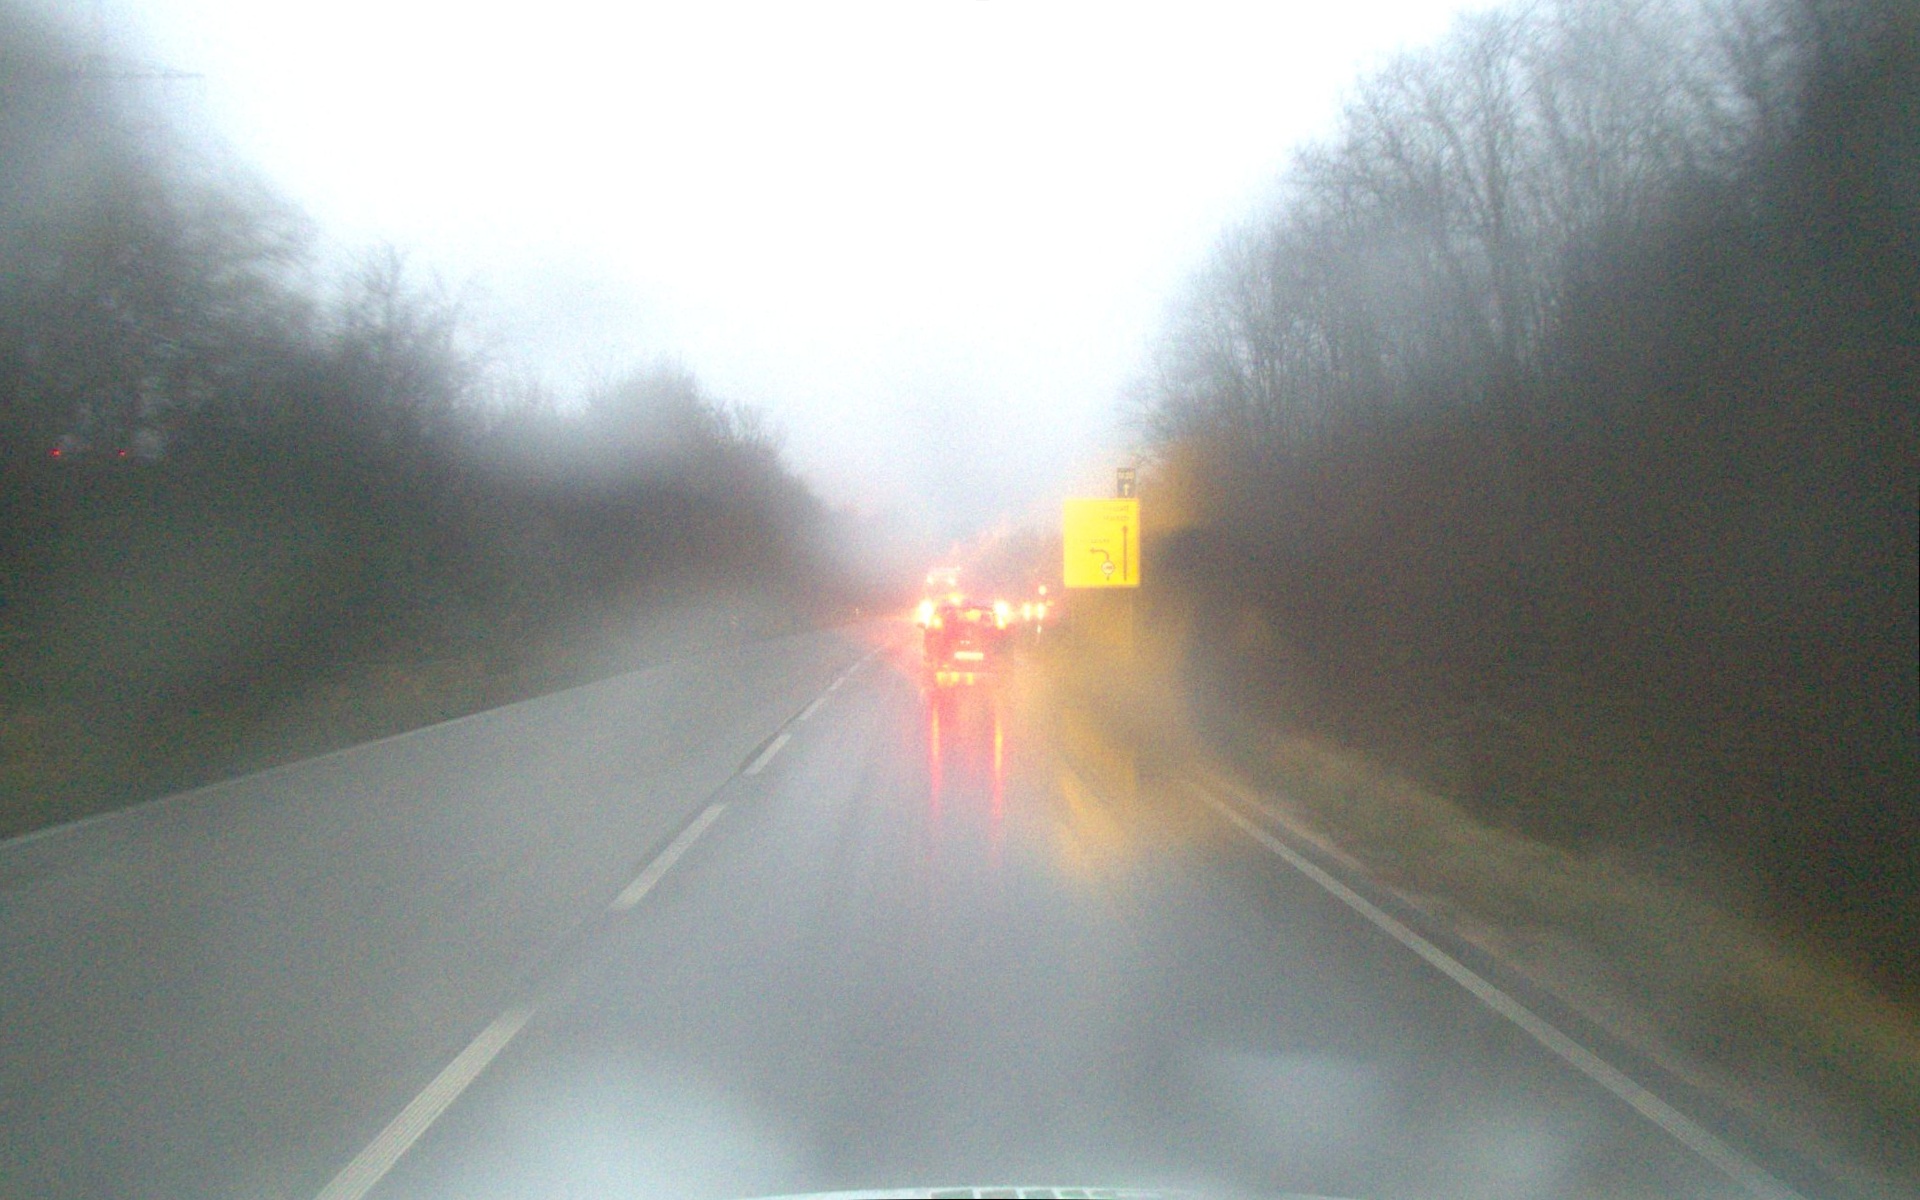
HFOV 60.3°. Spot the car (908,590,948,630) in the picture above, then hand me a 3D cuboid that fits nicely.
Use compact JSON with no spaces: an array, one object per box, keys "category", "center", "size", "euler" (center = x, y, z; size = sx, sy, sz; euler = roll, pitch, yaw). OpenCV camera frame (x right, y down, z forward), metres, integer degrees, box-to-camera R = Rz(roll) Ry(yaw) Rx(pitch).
[{"category":"car","center":[-1.355,0.407,71.589],"size":[1.692,1.672,4.000],"euler":[0,0,-1]}]

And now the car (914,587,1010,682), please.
[{"category":"car","center":[0.015,0.594,31.171],"size":[1.692,1.672,4.000],"euler":[0,0,-1]}]
